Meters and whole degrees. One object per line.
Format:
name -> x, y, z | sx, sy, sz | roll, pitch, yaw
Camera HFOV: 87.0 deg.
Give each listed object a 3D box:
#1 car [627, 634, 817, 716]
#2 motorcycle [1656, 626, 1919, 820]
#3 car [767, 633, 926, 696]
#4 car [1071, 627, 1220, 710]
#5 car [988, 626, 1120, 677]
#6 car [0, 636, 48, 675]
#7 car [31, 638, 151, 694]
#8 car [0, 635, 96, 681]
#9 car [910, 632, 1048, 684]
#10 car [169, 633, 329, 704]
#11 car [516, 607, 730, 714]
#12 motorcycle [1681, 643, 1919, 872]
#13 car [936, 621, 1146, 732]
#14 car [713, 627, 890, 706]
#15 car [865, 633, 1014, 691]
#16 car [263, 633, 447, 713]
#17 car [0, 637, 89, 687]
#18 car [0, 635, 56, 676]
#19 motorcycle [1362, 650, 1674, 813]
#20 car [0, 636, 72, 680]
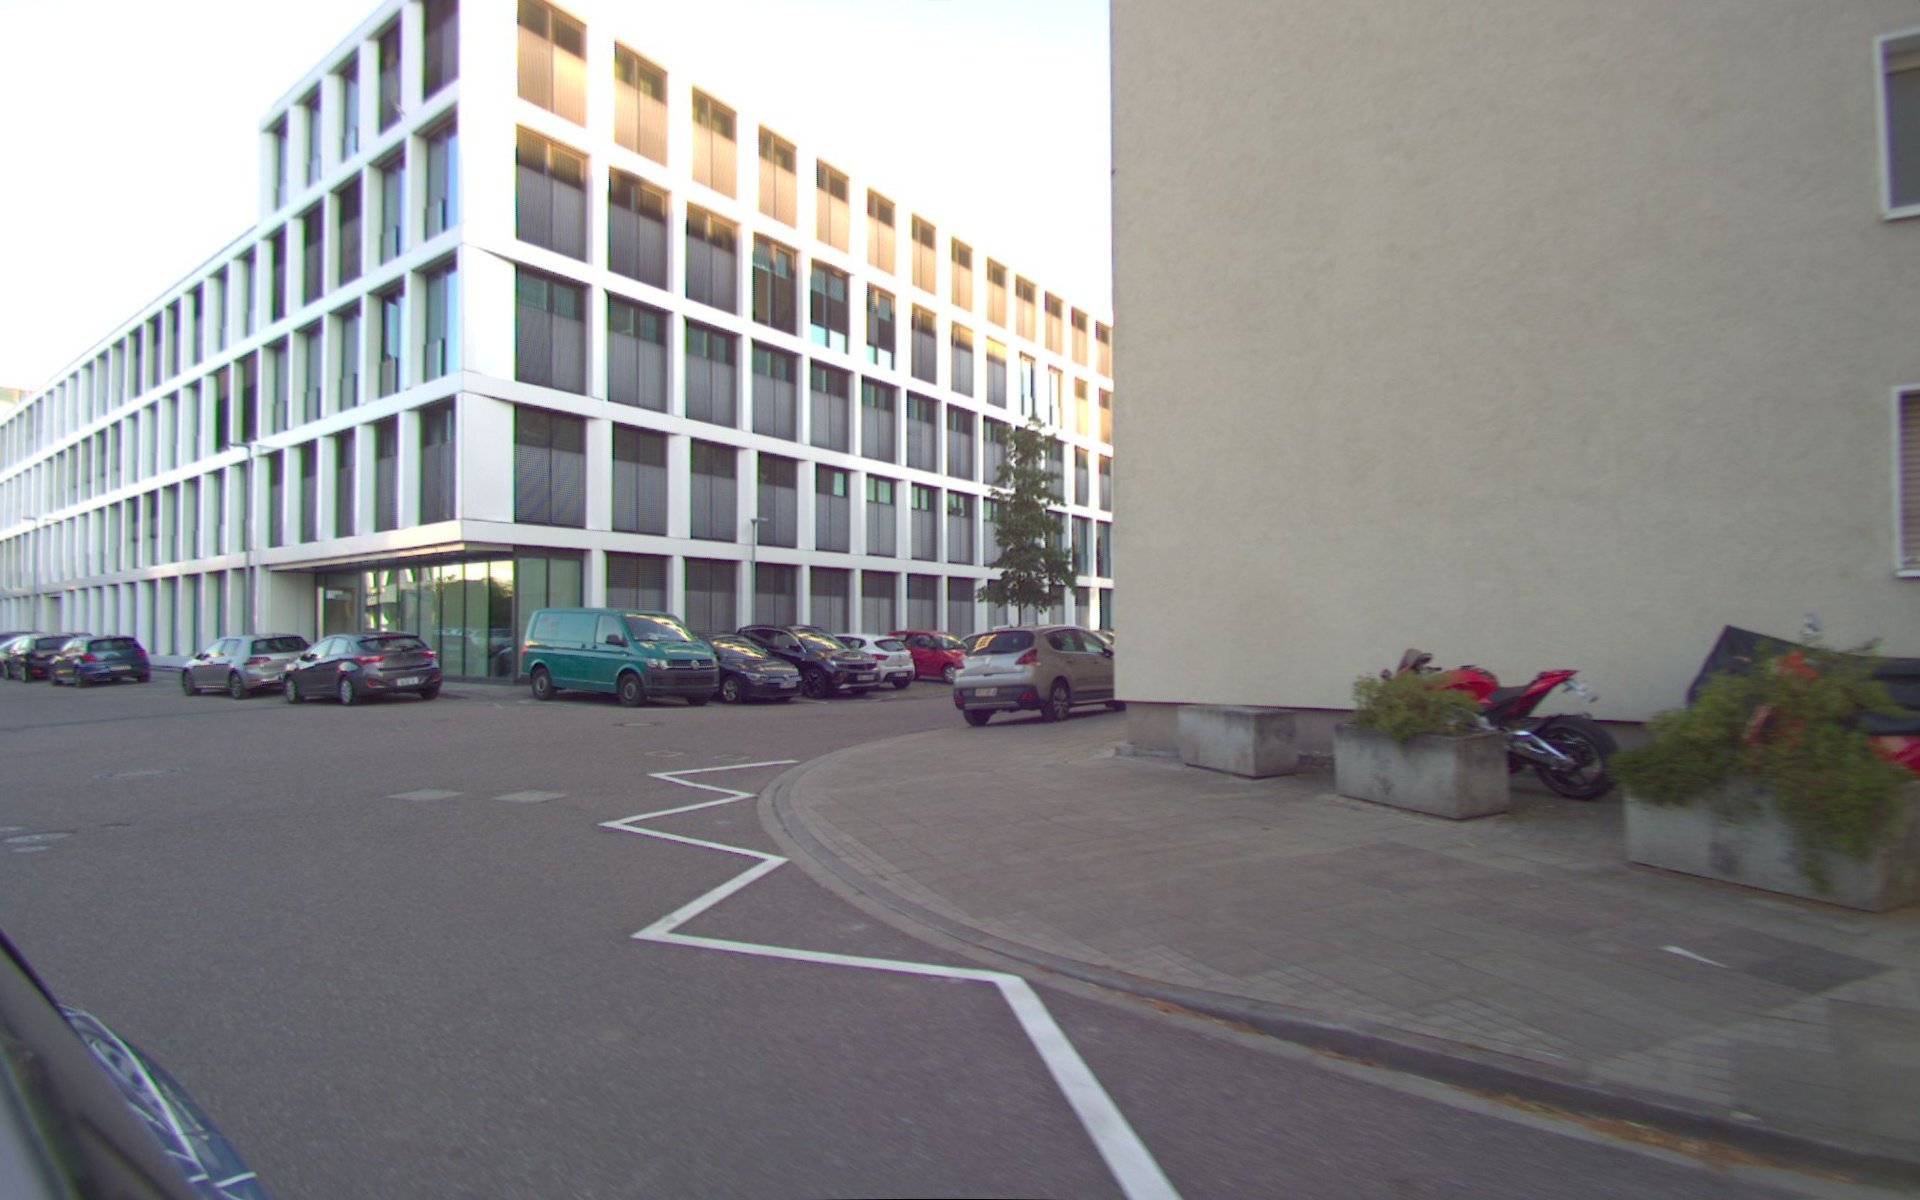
car -> -5.441, 1.615, 22.907 | 4.321, 1.561, 1.764 | 0, -1, 35
motorcycle -> 6.304, 0.827, 7.201 | 0.714, 1.274, 2.084 | 1, -2, -41
car -> -3.108, 1.686, 27.400 | 4.190, 1.467, 1.714 | 0, -1, 35
car -> 4.054, 1.429, 21.592 | 1.872, 1.512, 3.980 | -6, -5, 28
car -> 3.347, 1.794, 36.379 | 4.455, 1.624, 1.714 | 0, -1, 35
car -> -39.658, 2.272, 40.894 | 1.793, 1.523, 3.927 | -3, -2, 38
car -> -25.757, 1.912, 29.964 | 4.174, 1.449, 1.634 | -2, 1, 34
car -> -33.519, 2.065, 36.070 | 1.685, 1.523, 3.889 | -3, -2, 37
car -> 0.567, 1.802, 32.318 | 4.190, 1.467, 1.714 | 0, -1, 35
car -> -17.374, 1.636, 24.697 | 4.171, 1.490, 1.697 | -2, 1, 33
car -> -7.052, 1.173, 20.995 | 4.678, 1.995, 1.782 | -1, -2, 35
motorcycle -> 5.221, 0.827, 5.467 | 0.679, 1.169, 2.040 | 0, -2, -27
car -> 1.512, 1.279, 17.534 | 1.875, 1.630, 3.974 | -7, -5, 33
car -> -3.939, 1.560, 24.830 | 4.321, 1.672, 1.714 | 0, -1, 35
car -> -0.642, 1.783, 29.887 | 4.190, 1.467, 1.714 | 0, -1, 35
car -> -12.910, 1.495, 21.511 | 4.321, 1.490, 1.764 | -2, -1, 35
car -> -30.568, 2.019, 33.556 | 4.193, 1.449, 1.633 | -2, 1, 36
car -> -37.478, 2.177, 39.044 | 1.685, 1.523, 3.621 | -3, -2, 37
motorcycle -> 4.360, 0.966, 8.107 | 0.713, 1.087, 2.087 | 1, -2, -31
car -> -35.658, 2.182, 37.727 | 1.685, 1.523, 3.621 | -3, -2, 37
